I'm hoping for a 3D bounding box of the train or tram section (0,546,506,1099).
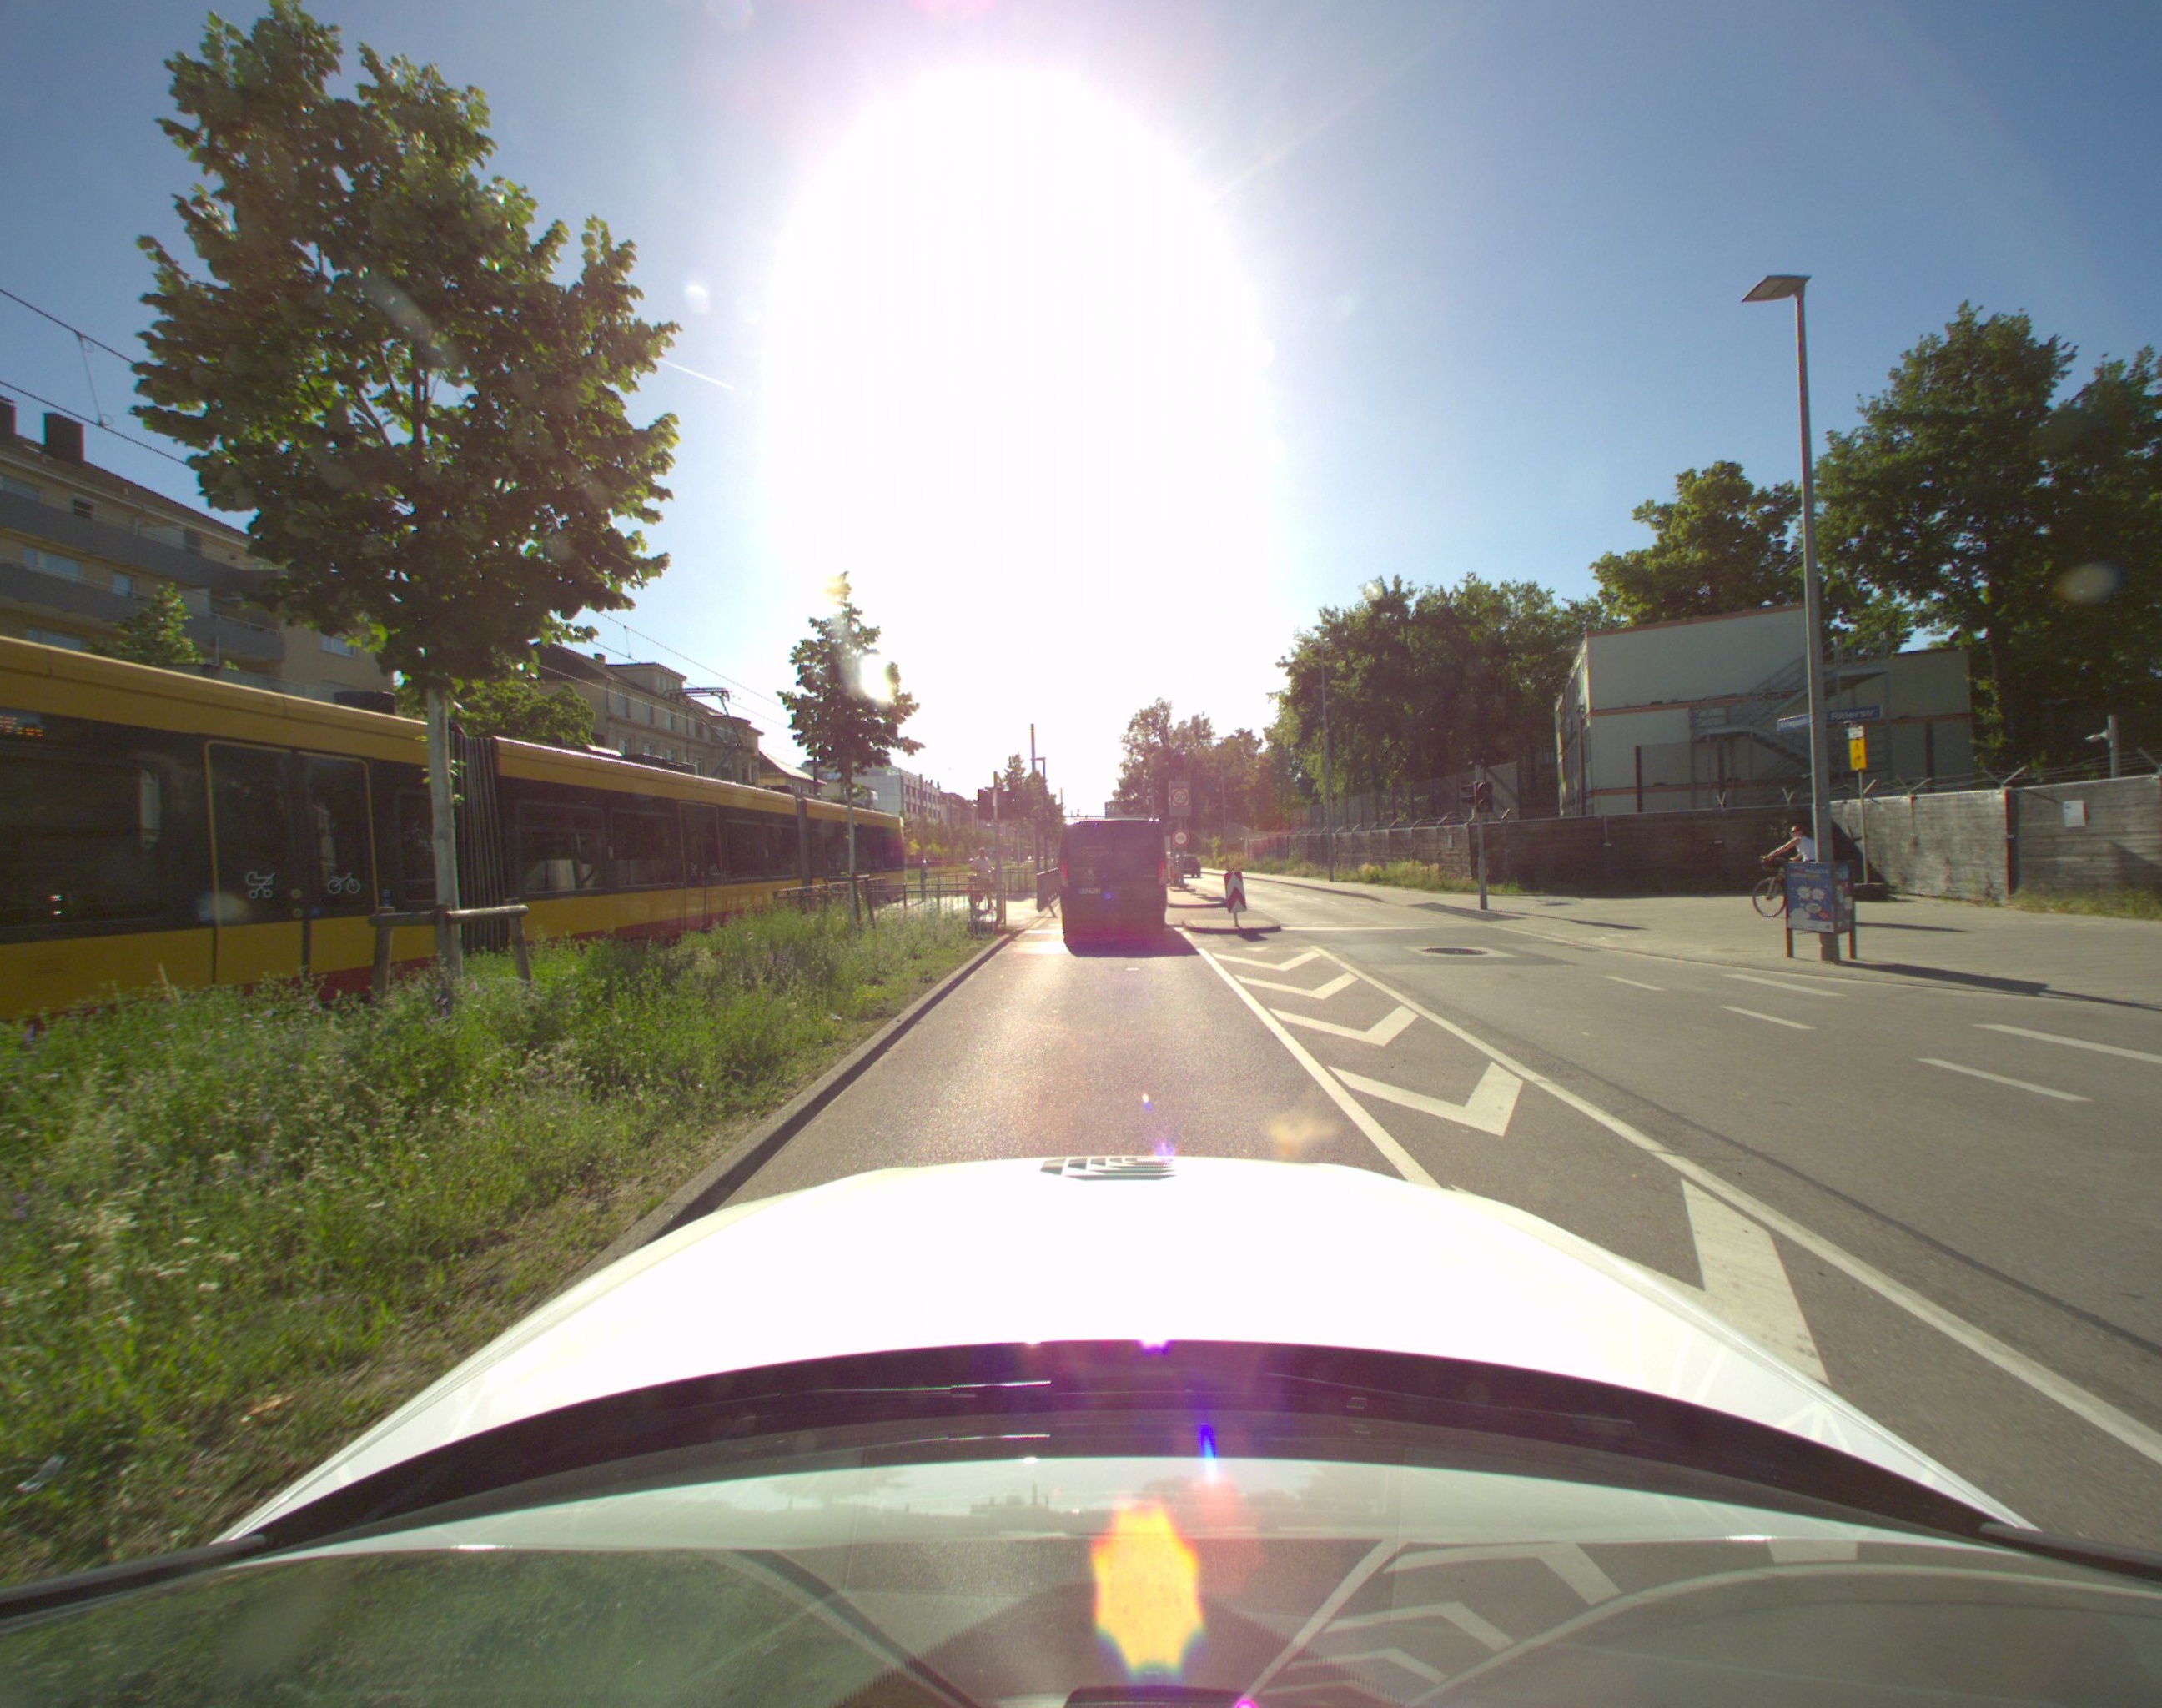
[{"bbox_3d":[-8.179,-0.200,2.974,1.987,3.669,14.152,-1,0,0],"label":"train or tram section"}]

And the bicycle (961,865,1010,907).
[{"bbox_3d":[-2.698,0.876,22.714,0.736,1.091,2.066,-1,0,-25],"label":"bicycle"}]

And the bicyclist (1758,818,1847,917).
[{"bbox_3d":[12.839,0.236,14.513,0.739,1.673,0.852,-3,0,-1],"label":"bicyclist"}]

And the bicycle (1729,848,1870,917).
[{"bbox_3d":[12.869,0.476,14.688,0.600,1.112,2.124,-4,0,0],"label":"bicycle"}]

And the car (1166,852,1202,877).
[{"bbox_3d":[6.470,0.632,51.473,1.758,1.462,3.998,-1,0,-1],"label":"car"}]

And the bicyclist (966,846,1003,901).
[{"bbox_3d":[-2.699,0.533,22.749,0.830,1.512,0.724,-1,0,-25],"label":"bicyclist"}]

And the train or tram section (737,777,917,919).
[{"bbox_3d":[-7.798,-0.148,27.069,1.986,3.669,11.687,-1,0,1],"label":"train or tram section"}]

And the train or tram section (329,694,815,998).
[{"bbox_3d":[-8.046,-0.102,15.578,1.986,3.669,11.317,-1,0,1],"label":"train or tram section"}]

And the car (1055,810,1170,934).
[{"bbox_3d":[0.616,0.337,17.029,2.075,2.249,4.000,-1,0,1],"label":"car"}]
